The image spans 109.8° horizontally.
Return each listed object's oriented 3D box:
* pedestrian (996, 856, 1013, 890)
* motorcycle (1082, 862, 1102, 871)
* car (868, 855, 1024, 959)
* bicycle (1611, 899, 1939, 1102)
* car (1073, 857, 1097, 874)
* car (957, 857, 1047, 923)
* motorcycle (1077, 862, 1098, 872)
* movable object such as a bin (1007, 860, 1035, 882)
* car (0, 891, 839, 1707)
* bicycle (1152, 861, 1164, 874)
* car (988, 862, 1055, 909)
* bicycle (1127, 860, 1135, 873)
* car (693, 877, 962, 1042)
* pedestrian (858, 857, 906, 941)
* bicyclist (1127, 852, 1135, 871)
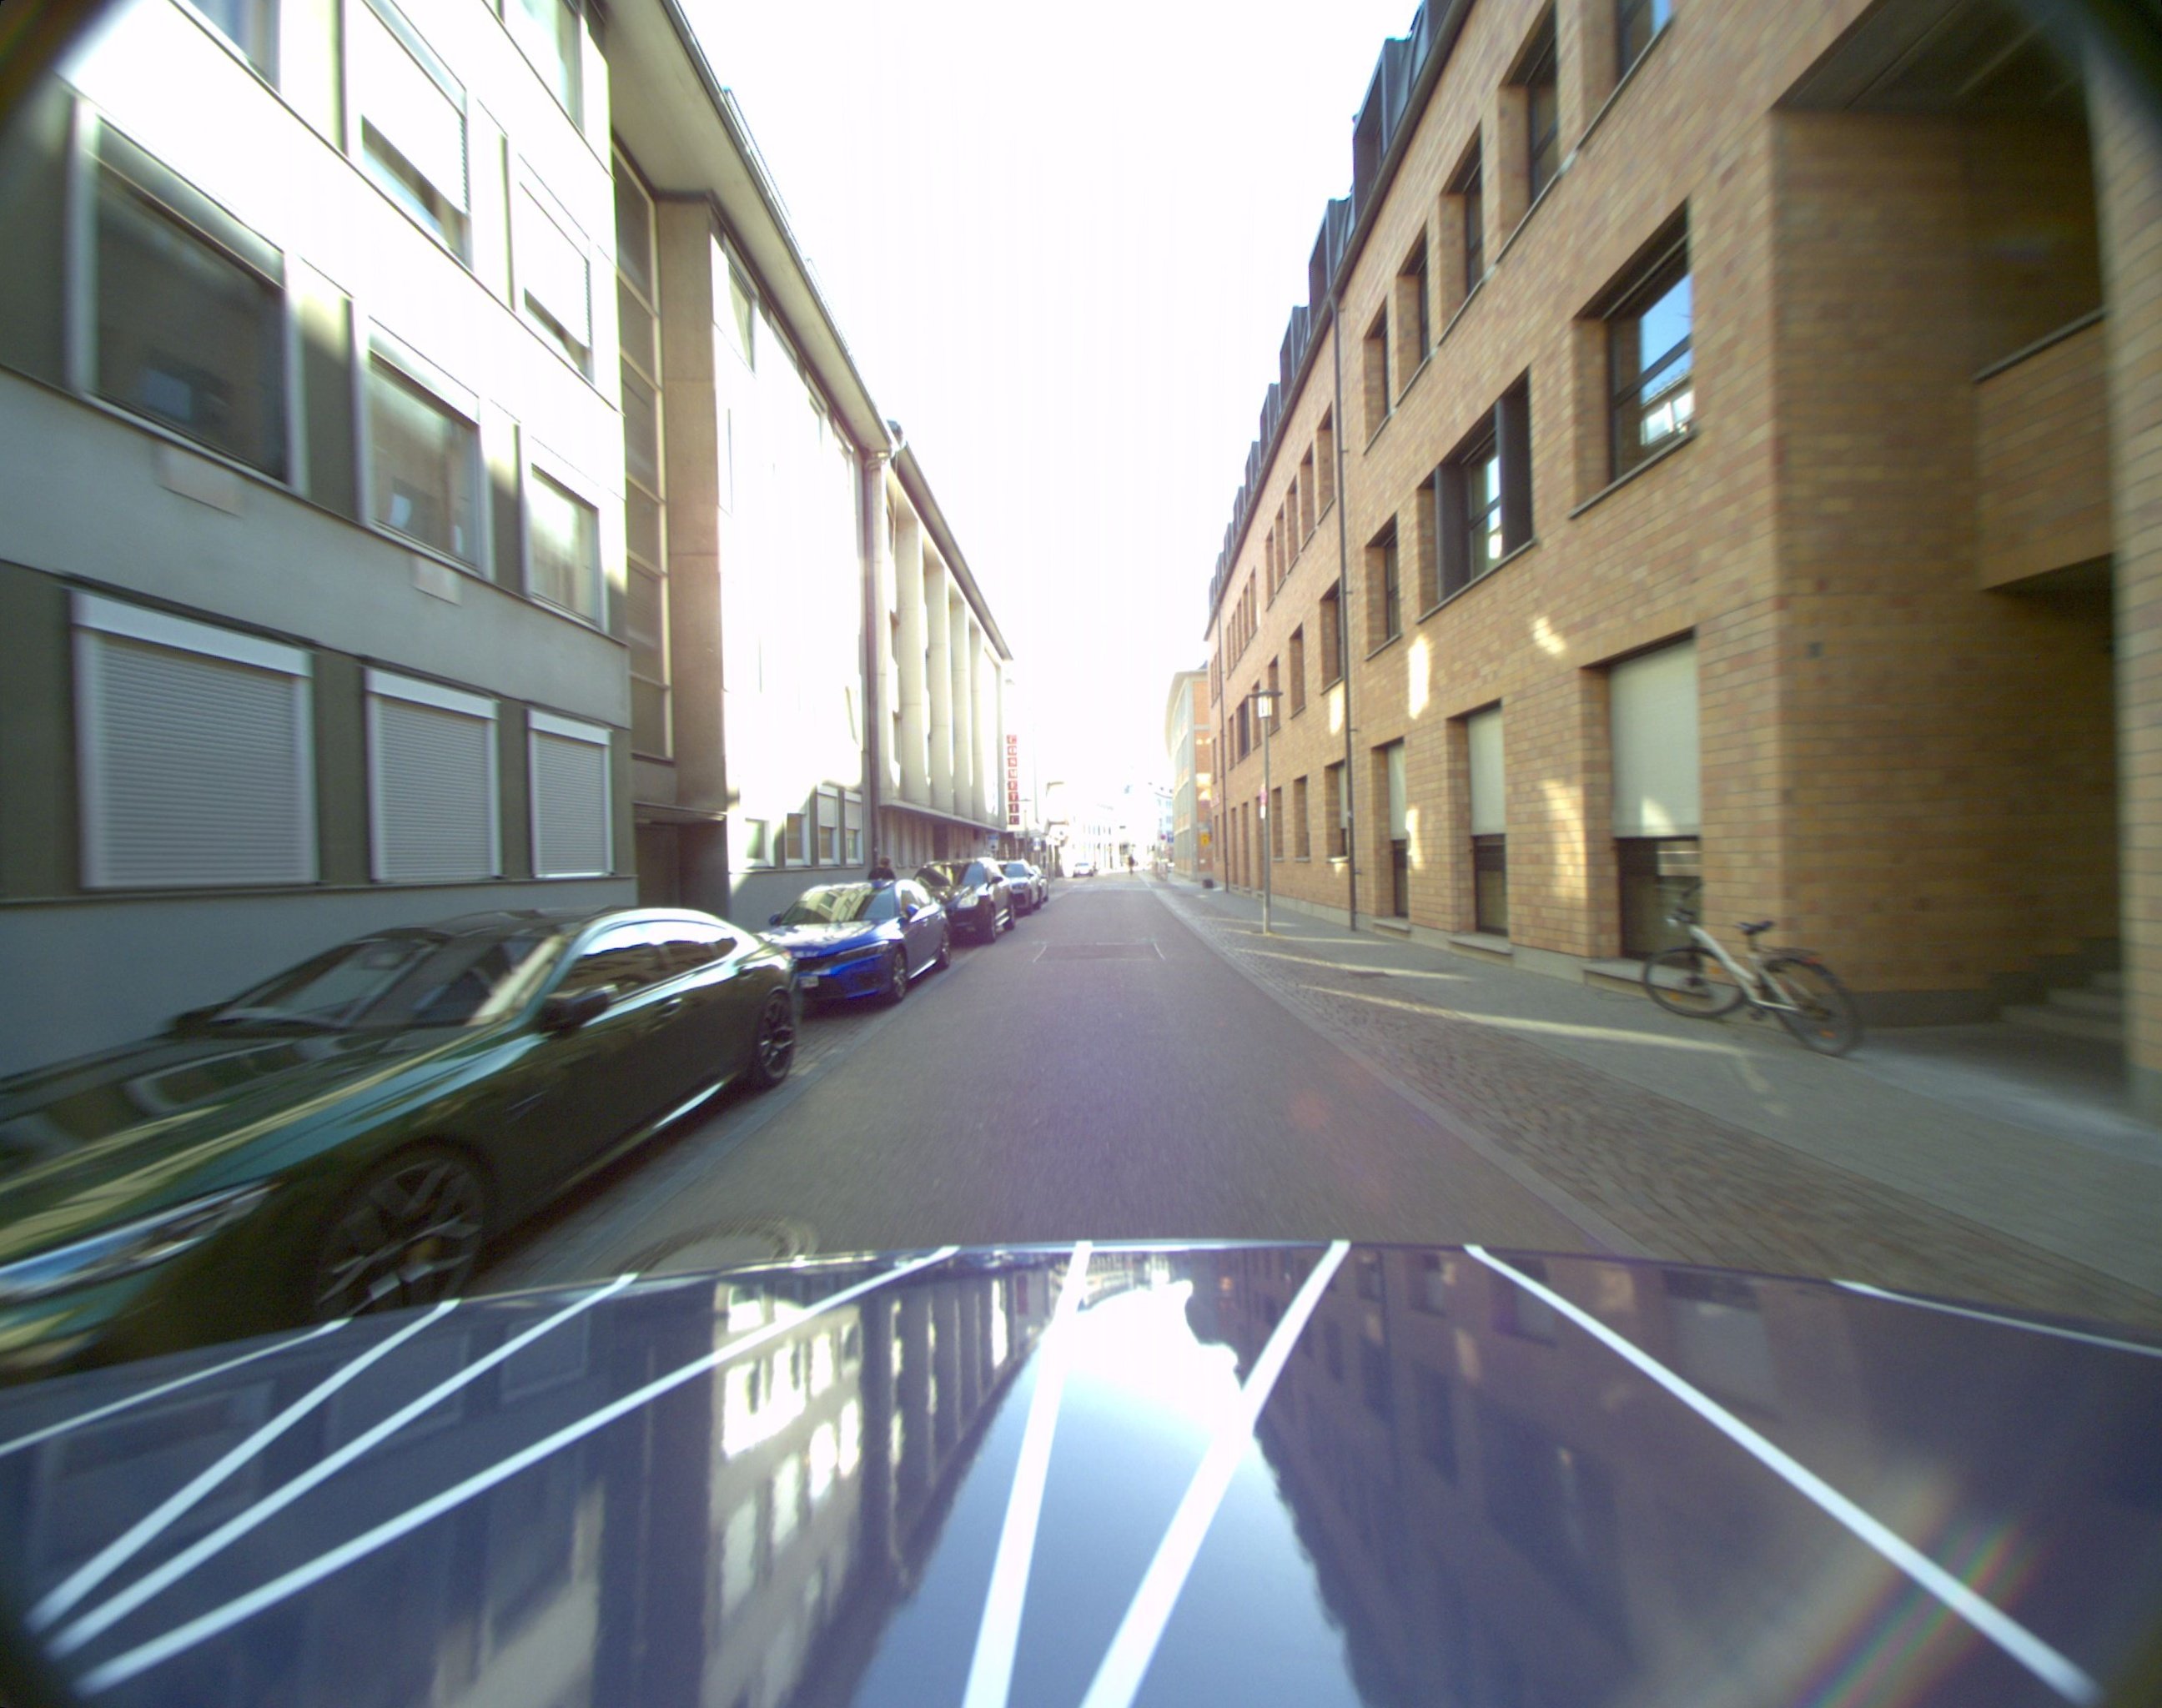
[{"bbox_3d":[-3.999,0.995,39.693,0.623,1.726,0.625,-2,1,-44],"label":"pedestrian"},{"bbox_3d":[1.152,1.334,80.490,1.995,0.950,0.646,-2,0,17],"label":"motorcycle"},{"bbox_3d":[-2.636,0.960,16.240,2.108,1.775,5.052,-3,0,3],"label":"car"},{"bbox_3d":[5.092,0.990,5.775,0.633,1.156,1.803,-5,0,-7],"label":"bicycle"},{"bbox_3d":[0.380,1.037,69.388,1.846,1.453,4.000,-3,0,4],"label":"car"},{"bbox_3d":[-2.316,1.011,23.627,1.998,1.692,4.844,-4,0,2],"label":"car"},{"bbox_3d":[0.630,1.266,76.606,1.995,0.950,0.646,-2,0,17],"label":"motorcycle"},{"bbox_3d":[-4.108,1.143,52.084,1.437,1.454,1.126,-2,0,-39],"label":"movable object such as a bin"},{"bbox_3d":[-3.169,1.099,4.033,1.898,1.444,5.226,-3,0,1],"label":"car"},{"bbox_3d":[6.461,1.105,63.845,0.628,1.047,1.822,-2,0,-3],"label":"bicycle"},{"bbox_3d":[-2.177,1.125,29.056,1.827,1.496,4.600,-4,0,3],"label":"car"},{"bbox_3d":[4.396,1.109,66.747,0.652,1.125,1.736,2,1,5],"label":"bicycle"},{"bbox_3d":[-2.933,1.144,10.065,1.812,1.404,4.790,-4,0,1],"label":"car"},{"bbox_3d":[-4.185,0.927,16.001,0.790,1.711,0.746,1,0,2],"label":"pedestrian"},{"bbox_3d":[4.415,0.665,66.735,0.663,1.633,0.926,2,1,5],"label":"bicyclist"}]
